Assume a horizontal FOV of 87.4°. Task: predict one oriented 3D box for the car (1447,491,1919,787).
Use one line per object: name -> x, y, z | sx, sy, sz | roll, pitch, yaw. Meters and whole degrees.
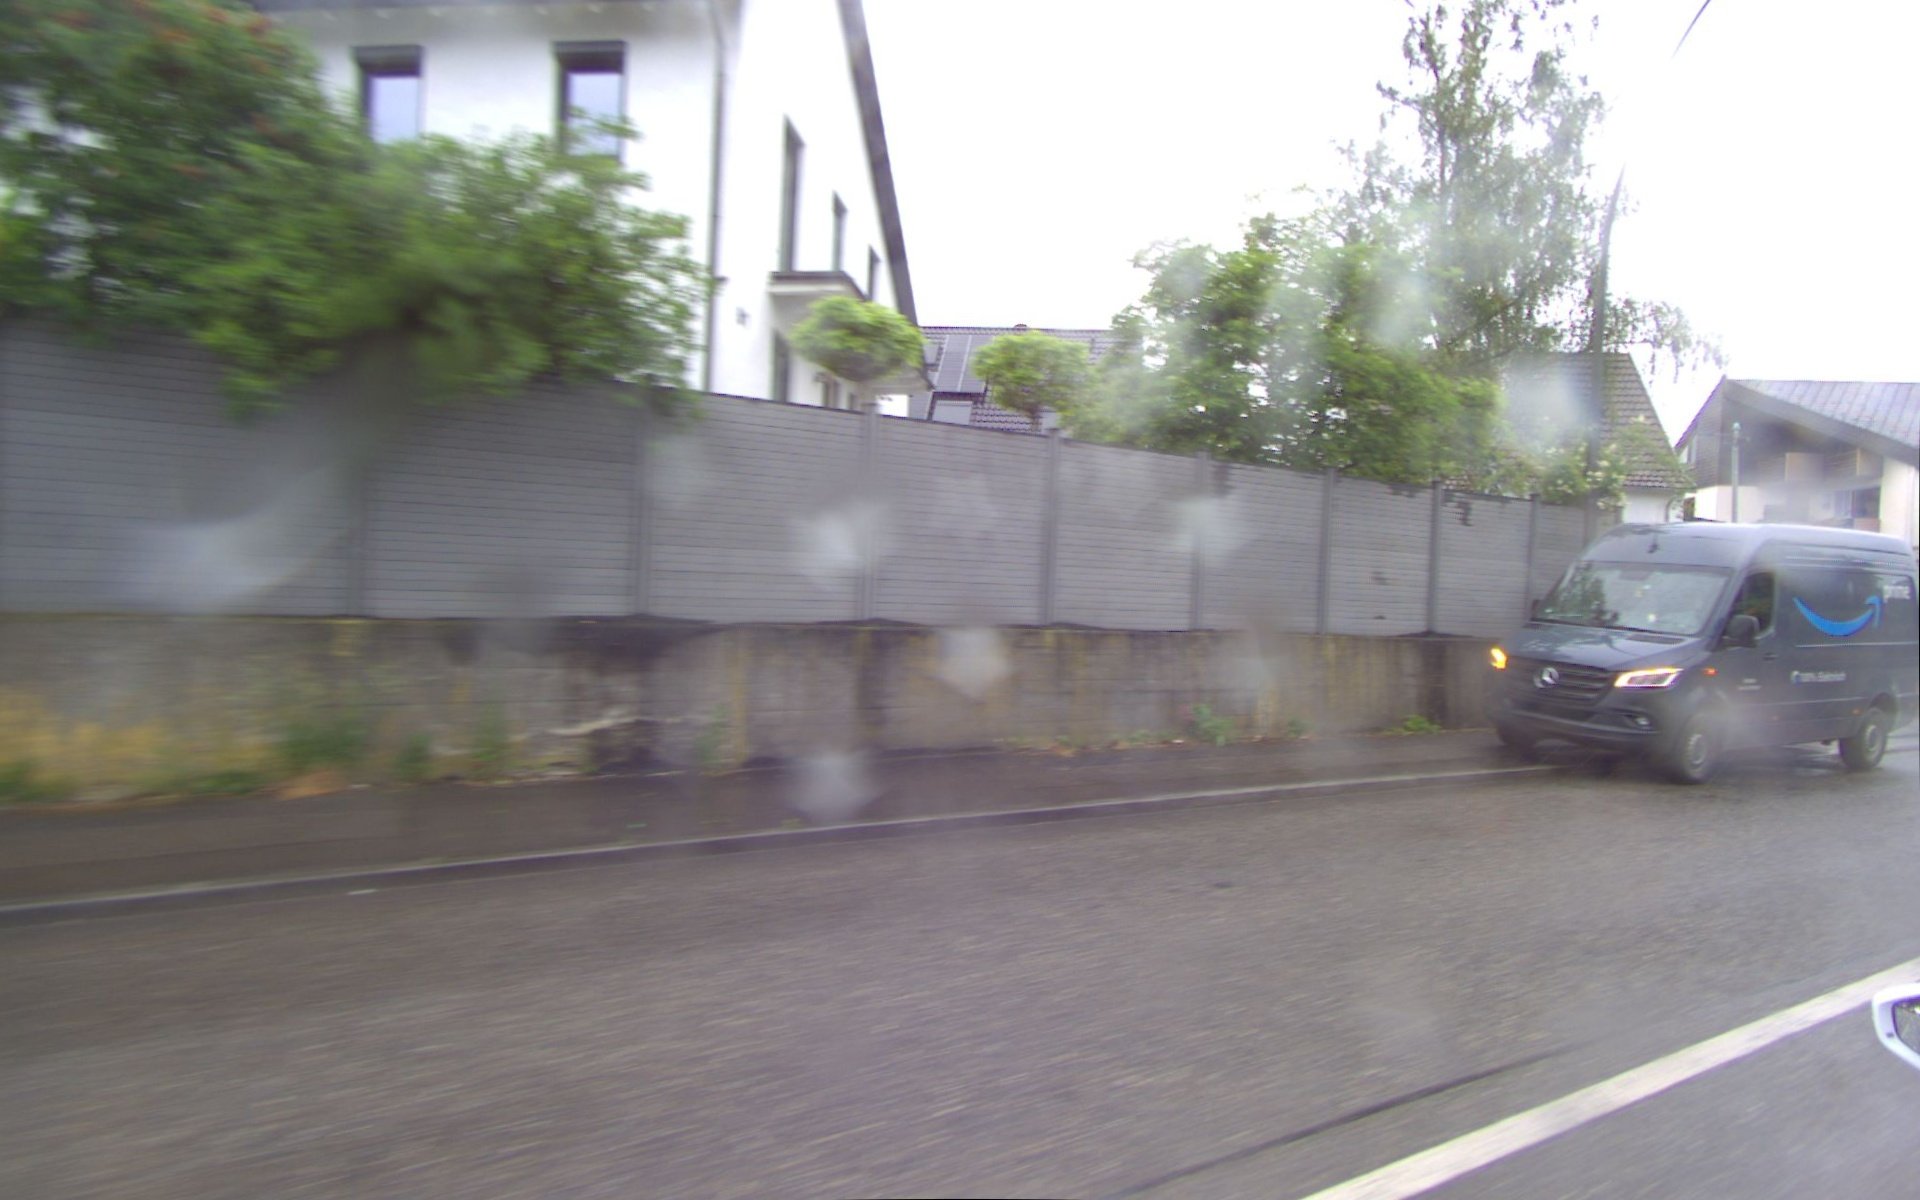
car -> 8.445, 0.403, 11.401 | 5.844, 2.684, 2.086 | 2, 2, -28
